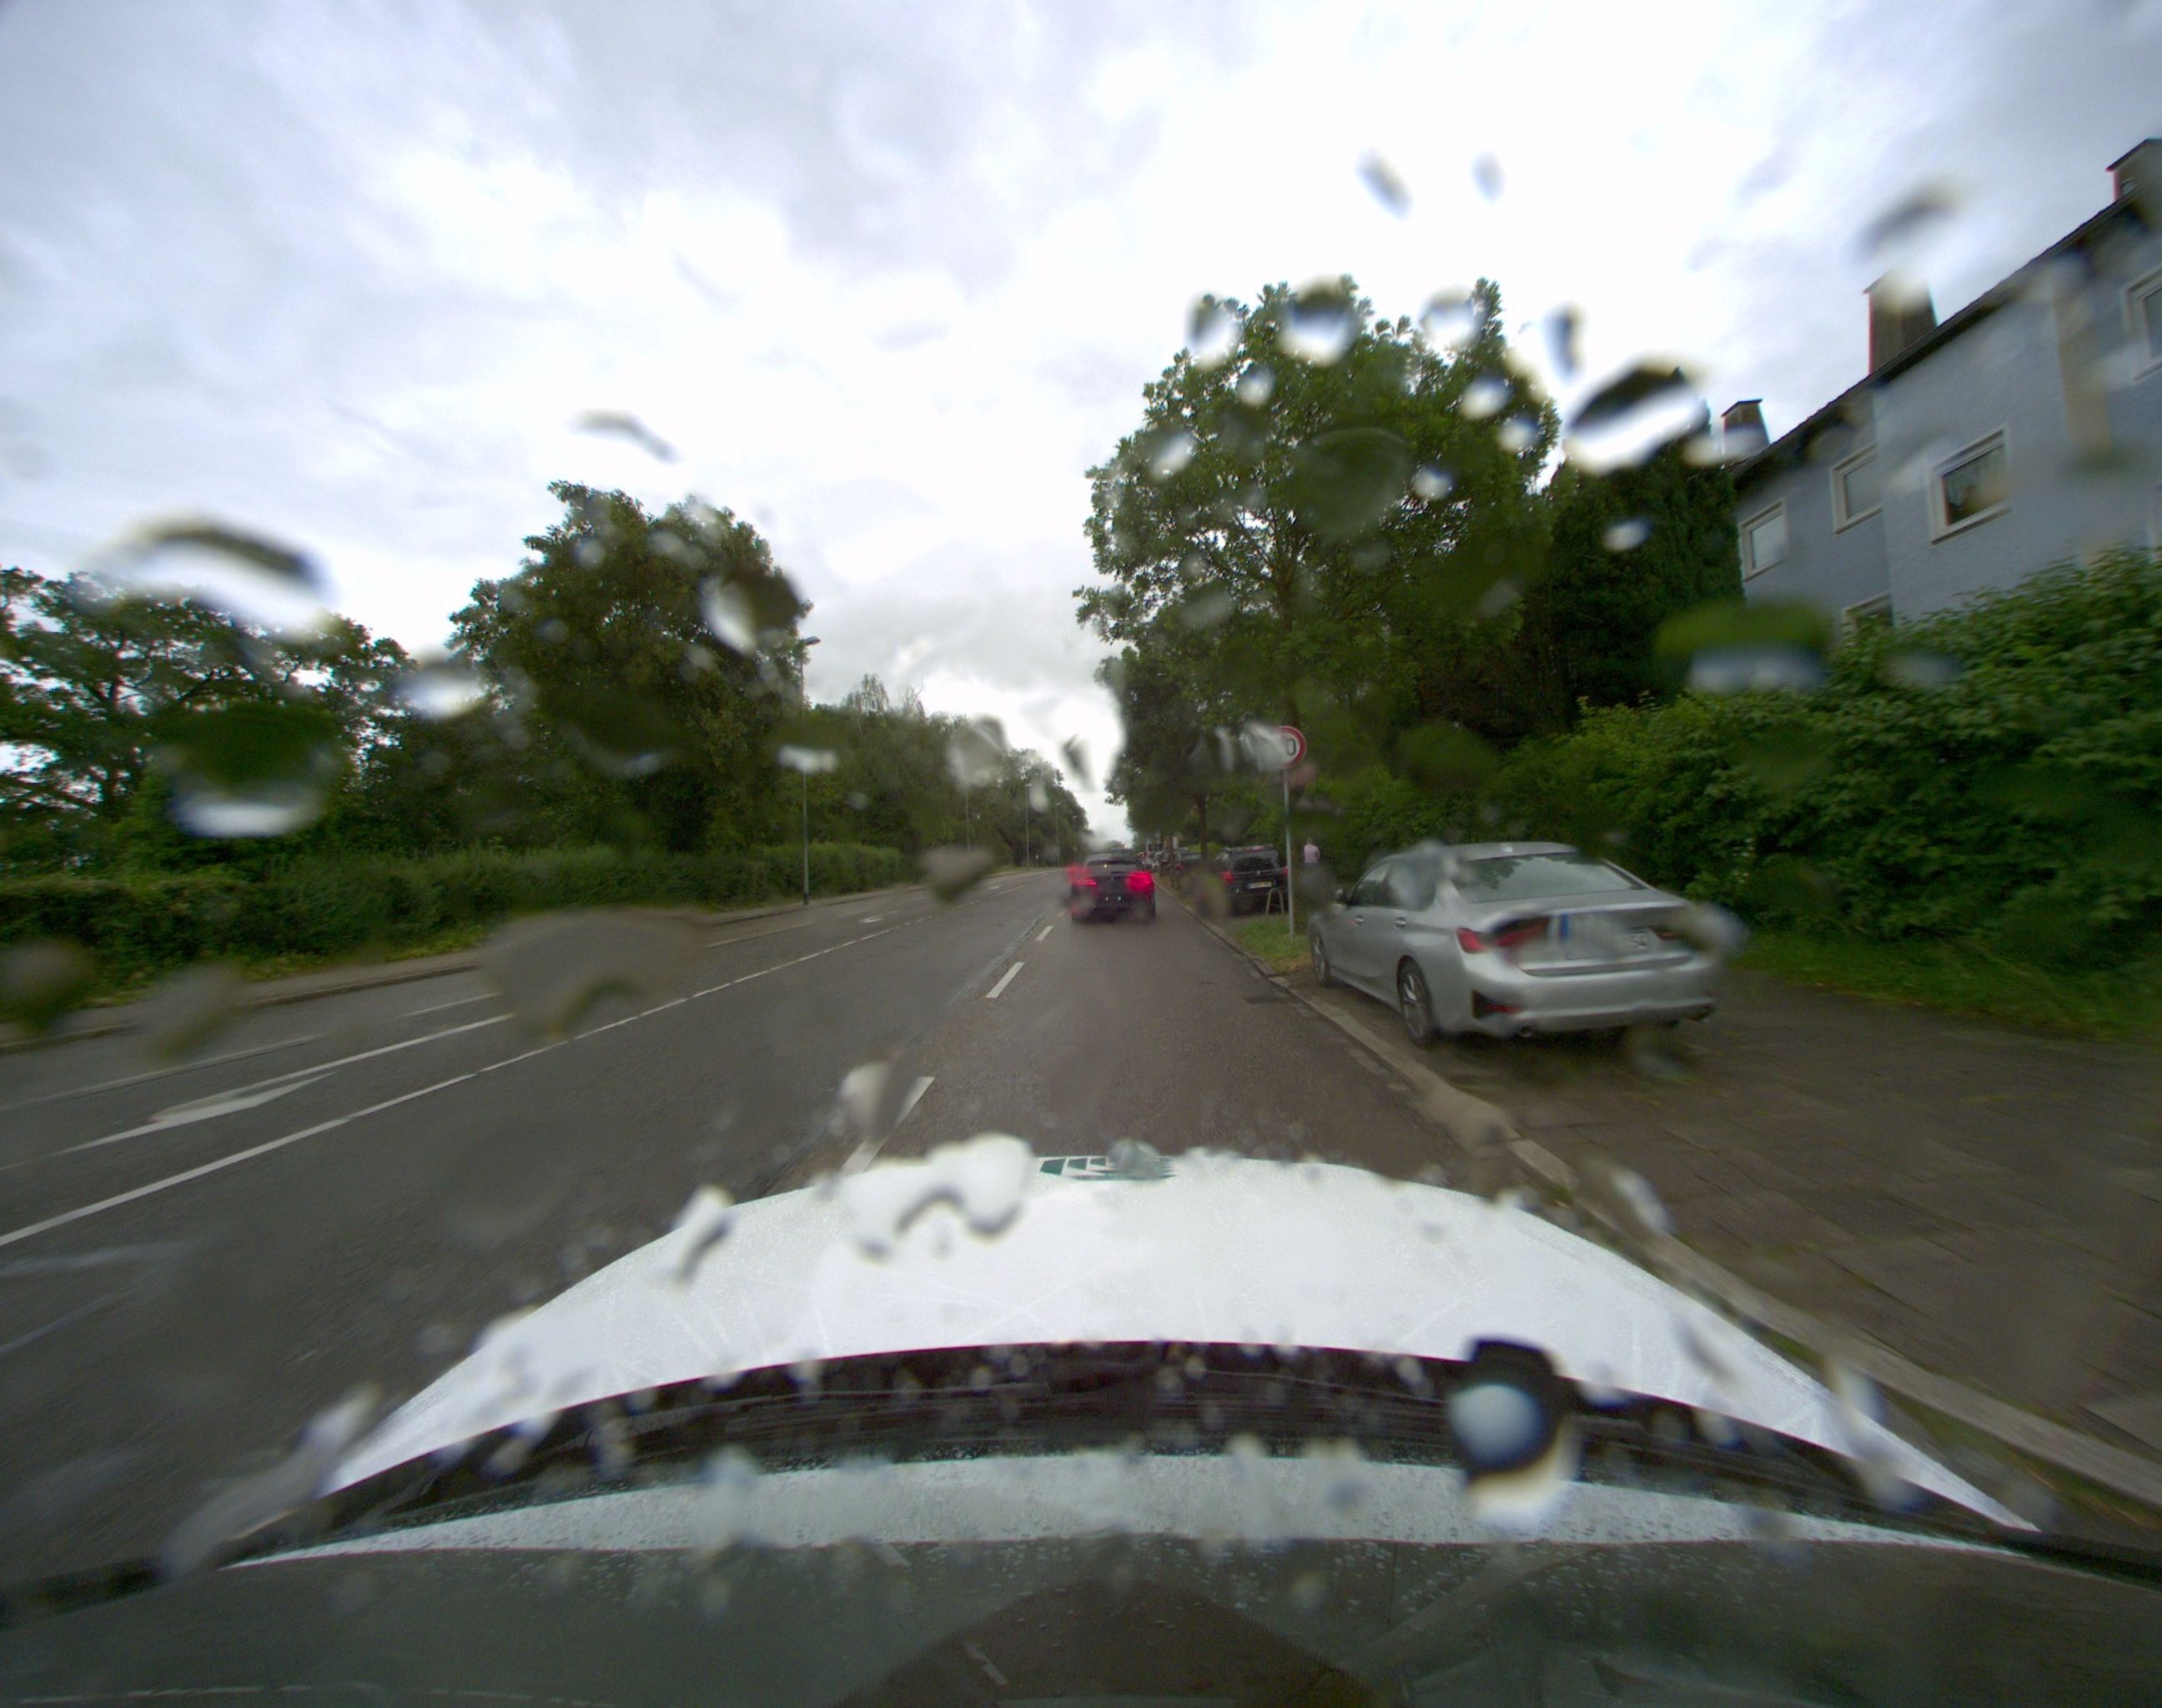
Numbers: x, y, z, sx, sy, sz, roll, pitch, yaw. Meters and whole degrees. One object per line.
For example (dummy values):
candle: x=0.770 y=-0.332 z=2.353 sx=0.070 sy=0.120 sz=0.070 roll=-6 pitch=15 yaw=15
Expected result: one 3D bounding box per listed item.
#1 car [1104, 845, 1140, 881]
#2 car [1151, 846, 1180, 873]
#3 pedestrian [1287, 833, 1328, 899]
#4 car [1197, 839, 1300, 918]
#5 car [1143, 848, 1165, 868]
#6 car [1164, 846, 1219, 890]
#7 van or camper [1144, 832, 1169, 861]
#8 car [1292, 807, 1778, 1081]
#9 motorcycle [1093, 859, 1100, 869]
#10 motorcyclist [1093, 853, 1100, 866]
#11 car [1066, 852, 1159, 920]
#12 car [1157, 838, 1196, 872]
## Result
car: x=2.523 y=0.529 z=49.051 sx=1.984 sy=2.014 sz=4.005 roll=-2 pitch=-1 yaw=5
car: x=5.908 y=0.338 z=56.636 sx=1.814 sy=1.602 sz=4.483 roll=-5 pitch=0 yaw=7
pedestrian: x=6.062 y=0.306 z=21.844 sx=0.714 sy=1.679 sz=0.894 roll=-4 pitch=0 yaw=-1
car: x=3.902 y=0.501 z=19.579 sx=1.636 sy=1.595 sz=4.015 roll=-4 pitch=1 yaw=1
car: x=6.437 y=0.339 z=71.766 sx=1.660 sy=1.528 sz=3.839 roll=-6 pitch=0 yaw=7
car: x=4.400 y=0.520 z=32.909 sx=1.716 sy=1.512 sz=3.787 roll=-4 pitch=1 yaw=1
van or camper: x=7.722 y=-0.813 z=83.619 sx=2.187 sy=2.651 sz=7.311 roll=-5 pitch=0 yaw=5
car: x=3.317 y=0.578 z=7.195 sx=1.792 sy=1.522 sz=4.593 roll=-4 pitch=-1 yaw=2
motorcycle: x=1.877 y=1.251 z=100.786 sx=0.818 sy=1.118 sz=2.190 roll=-2 pitch=0 yaw=2
motorcyclist: x=1.870 y=0.685 z=100.827 sx=0.807 sy=1.681 sz=0.652 roll=-2 pitch=0 yaw=3
car: x=0.746 y=0.692 z=19.414 sx=1.986 sy=1.453 sz=4.002 roll=0 pitch=0 yaw=2
car: x=5.318 y=0.016 z=46.004 sx=1.816 sy=1.677 sz=4.589 roll=-5 pitch=0 yaw=4
